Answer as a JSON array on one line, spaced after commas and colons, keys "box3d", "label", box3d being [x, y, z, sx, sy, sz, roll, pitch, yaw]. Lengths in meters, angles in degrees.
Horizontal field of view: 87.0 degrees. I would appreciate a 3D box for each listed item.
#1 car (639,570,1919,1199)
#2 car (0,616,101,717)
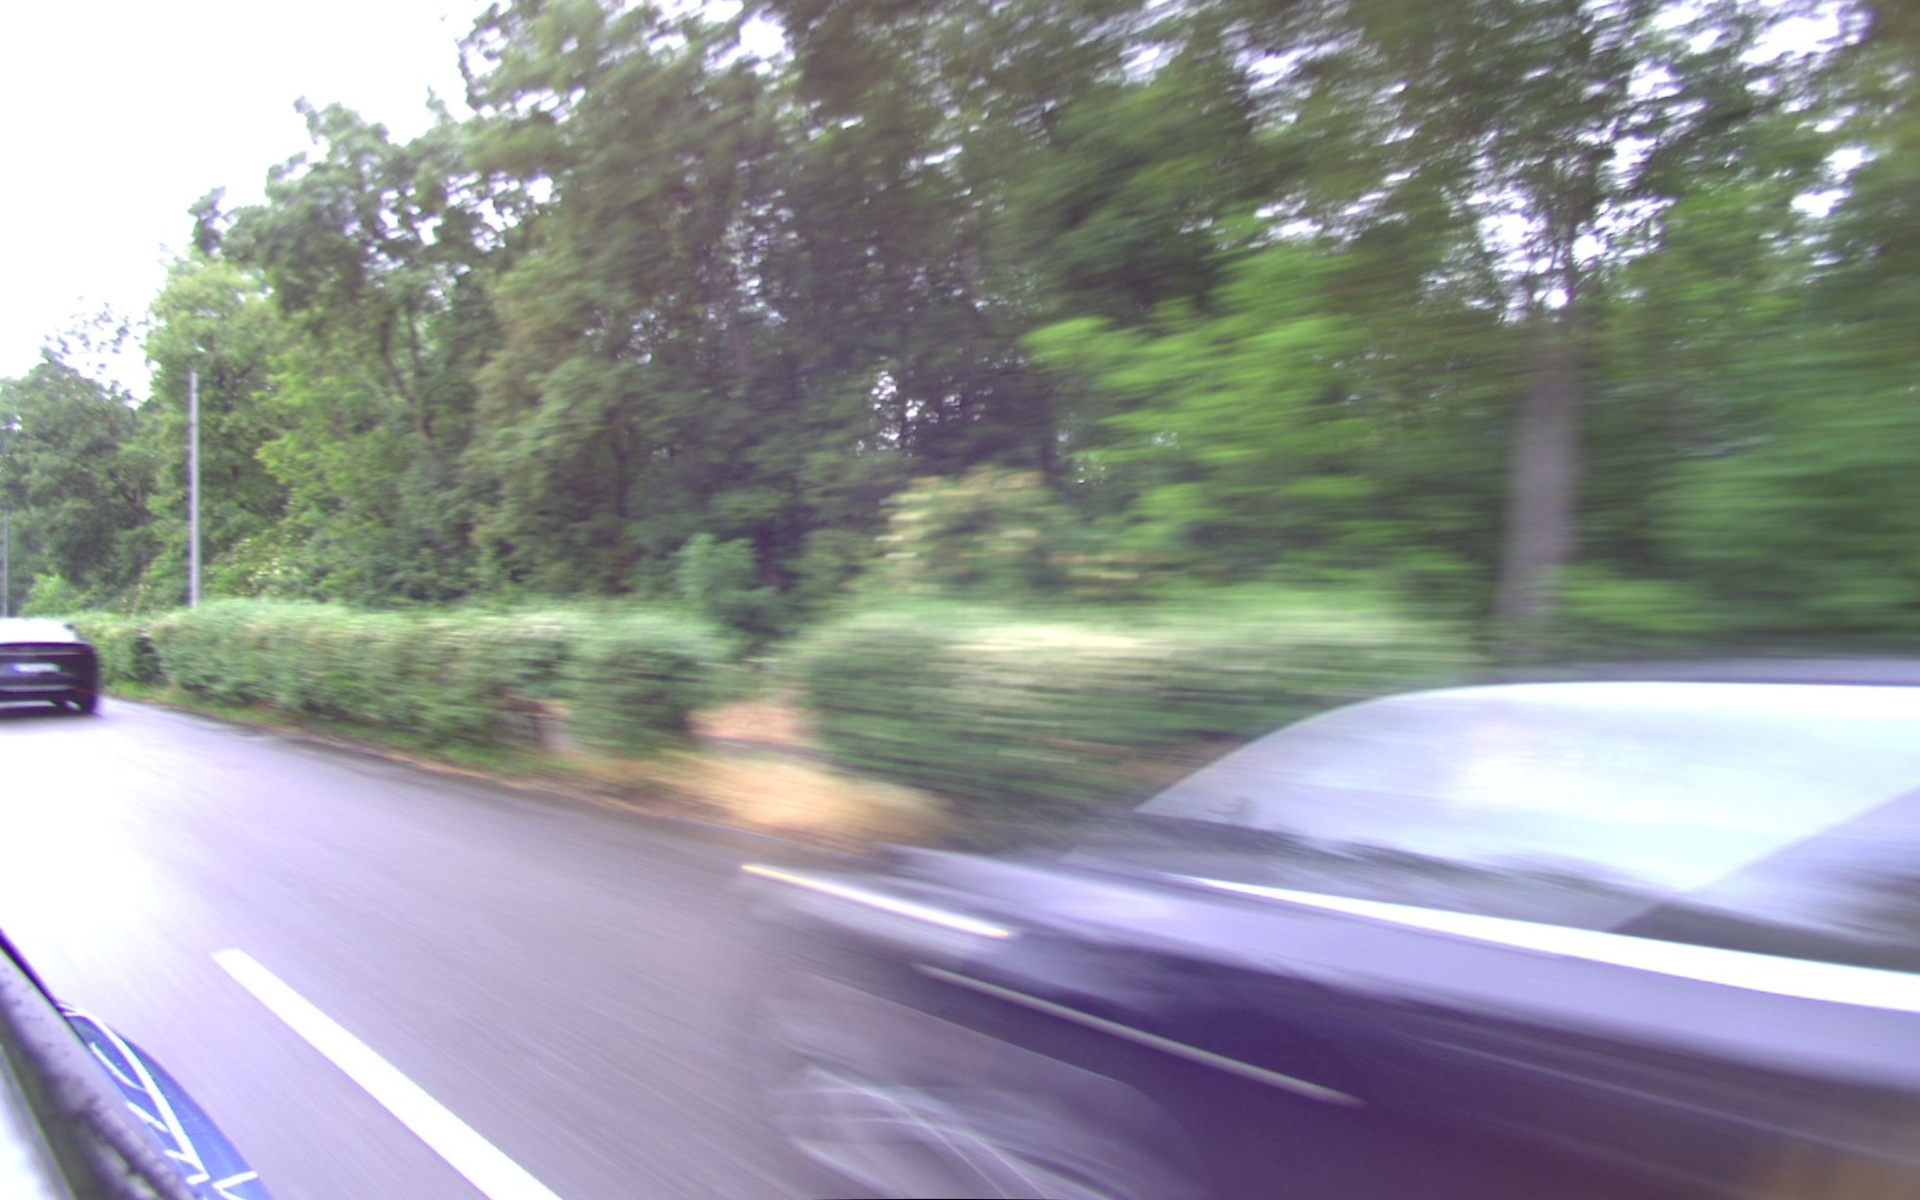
[{"box3d": [1.536, 0.722, 1.895, 5.110, 1.454, 1.710, -3, -3, 42], "label": "car"}, {"box3d": [-16.344, 1.125, 17.382, 4.430, 1.559, 1.785, -3, -4, 42], "label": "car"}]
